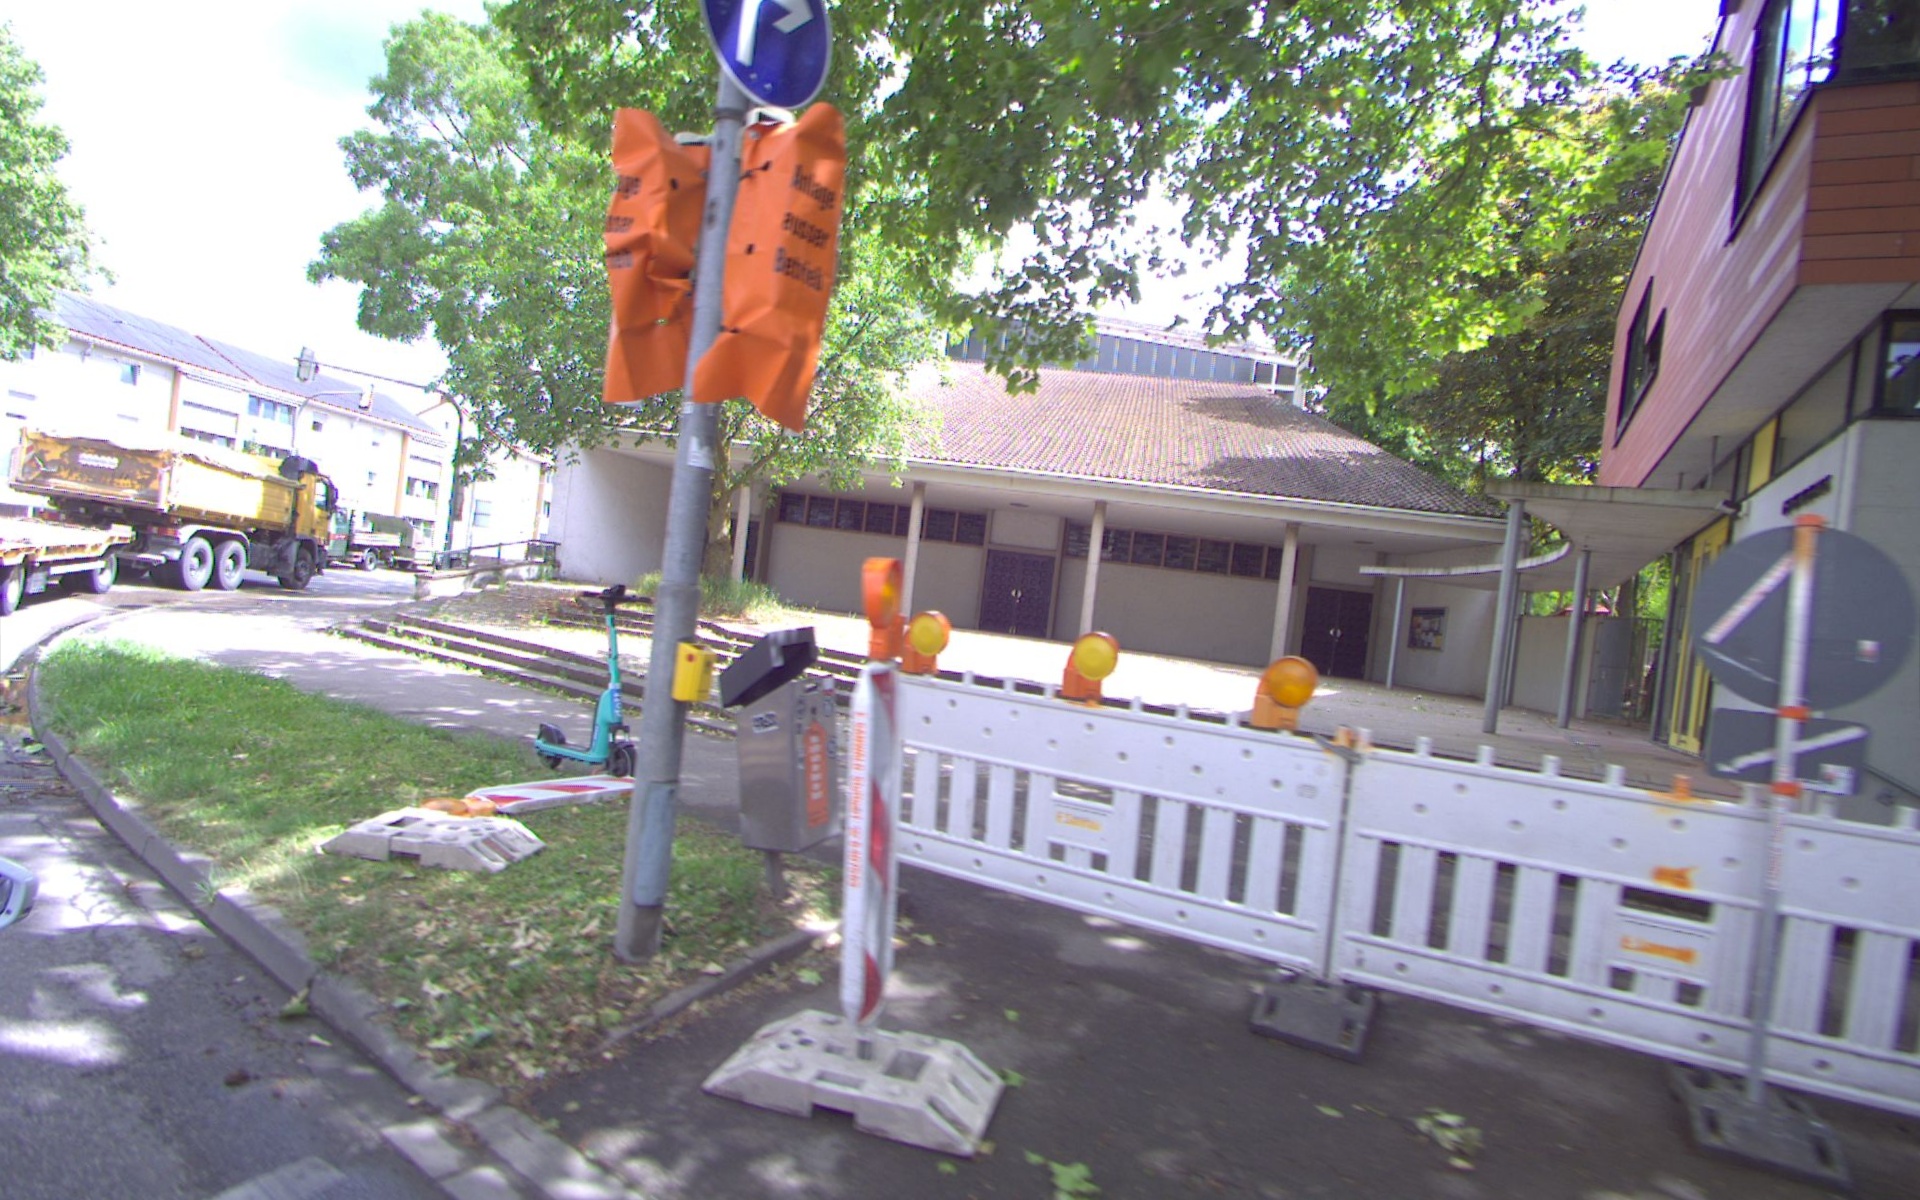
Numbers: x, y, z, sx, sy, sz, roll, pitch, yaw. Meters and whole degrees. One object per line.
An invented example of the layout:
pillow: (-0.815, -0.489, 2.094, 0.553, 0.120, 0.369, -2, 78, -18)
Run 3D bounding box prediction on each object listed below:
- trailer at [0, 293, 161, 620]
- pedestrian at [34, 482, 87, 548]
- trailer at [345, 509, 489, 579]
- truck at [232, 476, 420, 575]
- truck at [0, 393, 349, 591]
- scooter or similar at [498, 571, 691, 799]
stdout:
trailer: (-13.730, -1.884, 13.567, 2.805, 3.564, 10.961, 9, -2, -31)
pedestrian: (-25.327, -2.374, 28.348, 0.697, 1.687, 0.824, 7, -2, -22)
trailer: (-23.488, -2.332, 43.940, 2.623, 2.240, 6.247, 10, 0, 0)
truck: (-23.429, -2.633, 37.638, 2.623, 2.757, 6.395, 10, 0, 0)
truck: (-16.944, -2.022, 22.411, 2.880, 3.205, 7.663, 8, -1, -11)
scooter or similar: (-2.338, 0.501, 6.383, 1.178, 1.248, 0.563, 7, 1, 43)
